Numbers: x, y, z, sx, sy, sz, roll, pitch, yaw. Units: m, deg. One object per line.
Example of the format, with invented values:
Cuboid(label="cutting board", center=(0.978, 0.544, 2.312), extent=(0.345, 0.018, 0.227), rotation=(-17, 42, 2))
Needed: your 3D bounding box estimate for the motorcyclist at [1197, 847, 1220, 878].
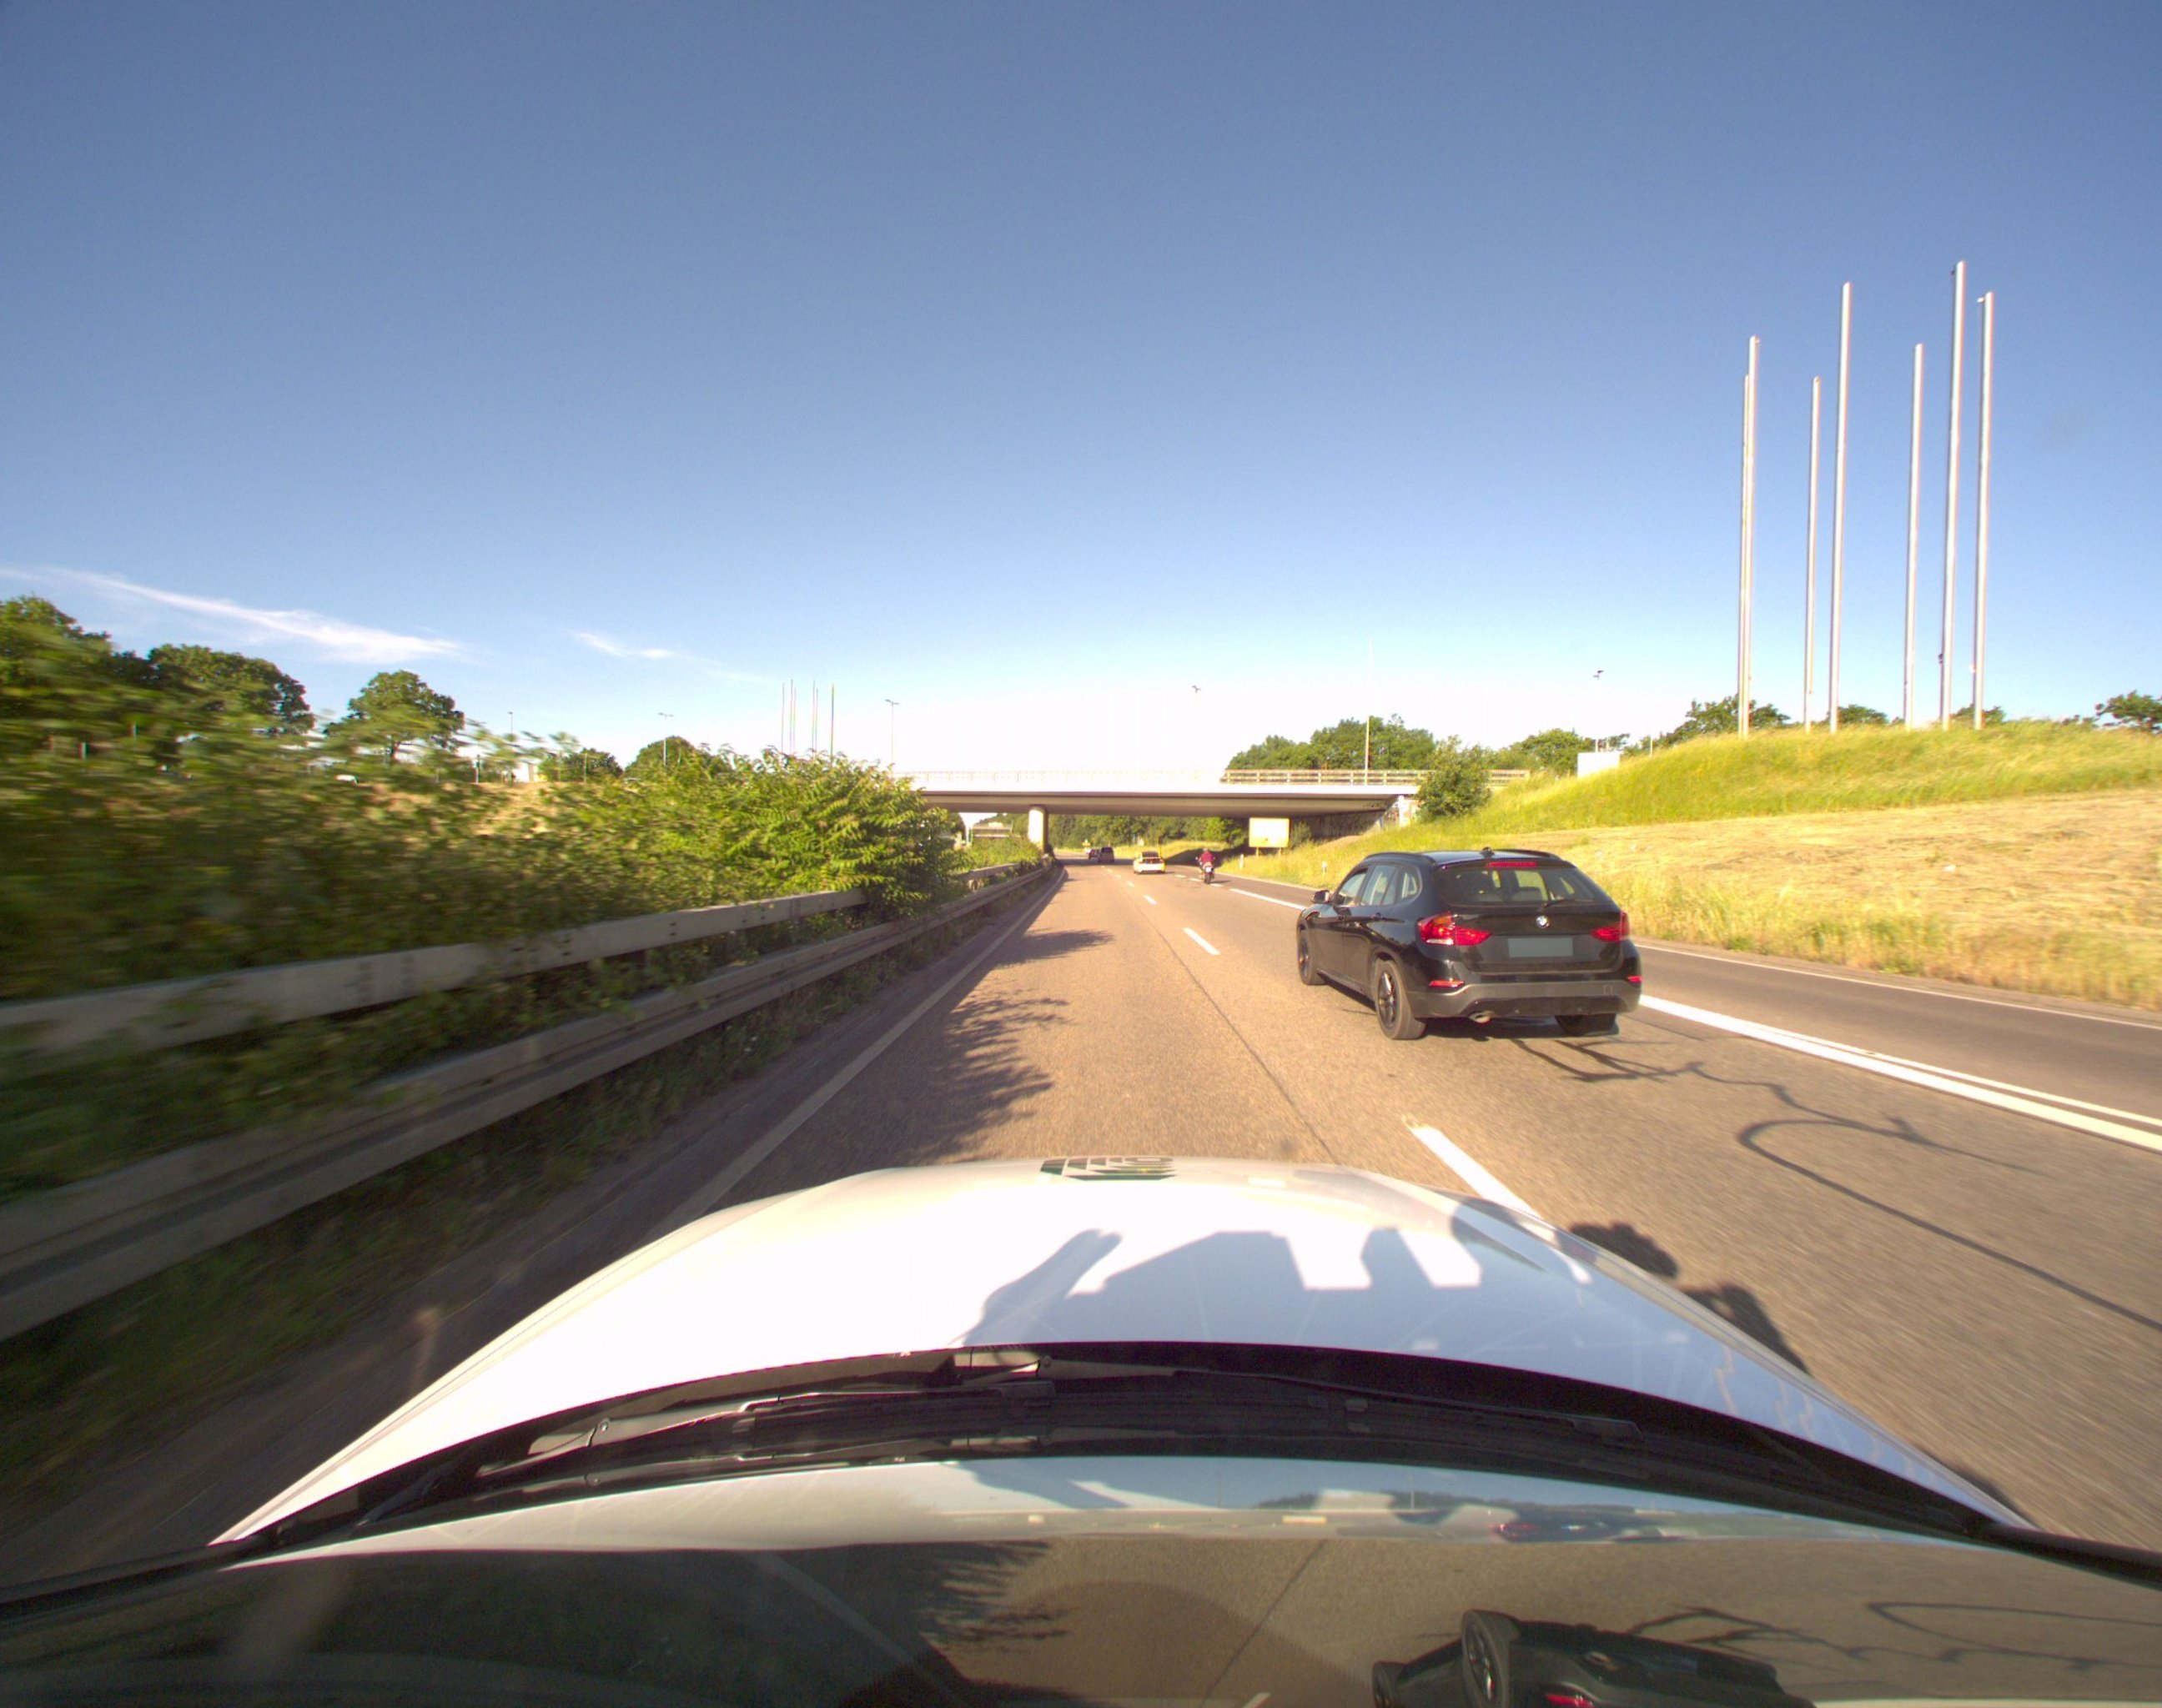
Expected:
Cuboid(label="motorcyclist", center=(5.890, 0.382, 37.633), extent=(0.815, 1.447, 1.092), rotation=(0, 0, -3))

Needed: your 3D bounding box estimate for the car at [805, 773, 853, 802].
Cuboid(label="car", center=(-25.892, -6.815, 83.672), extent=(4.271, 2.805, 2.092), rotation=(1, 0, 23))

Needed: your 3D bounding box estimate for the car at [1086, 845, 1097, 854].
Cuboid(label="car", center=(2.164, -0.964, 173.442), extent=(1.866, 1.685, 3.993), rotation=(1, 0, -5))

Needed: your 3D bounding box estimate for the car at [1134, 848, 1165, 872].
Cuboid(label="car", center=(4.480, 0.357, 53.504), extent=(1.889, 1.471, 4.004), rotation=(-1, 0, 3))

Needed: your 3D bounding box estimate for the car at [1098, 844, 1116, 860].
Cuboid(label="car", center=(3.031, -0.243, 94.893), extent=(1.892, 1.767, 3.998), rotation=(-1, 0, -1))

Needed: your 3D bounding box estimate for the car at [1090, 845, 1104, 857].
Cuboid(label="car", center=(2.284, -0.431, 117.282), extent=(1.891, 1.767, 4.000), rotation=(-1, 1, 0))

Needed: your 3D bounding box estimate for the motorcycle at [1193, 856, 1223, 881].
Cuboid(label="motorcycle", center=(5.886, 0.658, 37.807), extent=(0.815, 1.069, 2.833), rotation=(0, 0, -3))

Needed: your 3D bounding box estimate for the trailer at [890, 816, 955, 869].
Cuboid(label="trailer", center=(-11.949, -0.859, 62.567), extent=(2.768, 3.657, 12.198), rotation=(1, 0, -1))

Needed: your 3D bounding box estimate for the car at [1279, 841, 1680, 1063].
Cuboid(label="car", center=(3.341, 0.668, 7.980), extent=(1.693, 1.506, 4.579), rotation=(-2, 0, 0))

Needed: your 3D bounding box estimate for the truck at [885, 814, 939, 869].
Cuboid(label="truck", center=(-11.868, -0.851, 57.765), extent=(2.768, 3.657, 5.321), rotation=(1, 0, -1))
